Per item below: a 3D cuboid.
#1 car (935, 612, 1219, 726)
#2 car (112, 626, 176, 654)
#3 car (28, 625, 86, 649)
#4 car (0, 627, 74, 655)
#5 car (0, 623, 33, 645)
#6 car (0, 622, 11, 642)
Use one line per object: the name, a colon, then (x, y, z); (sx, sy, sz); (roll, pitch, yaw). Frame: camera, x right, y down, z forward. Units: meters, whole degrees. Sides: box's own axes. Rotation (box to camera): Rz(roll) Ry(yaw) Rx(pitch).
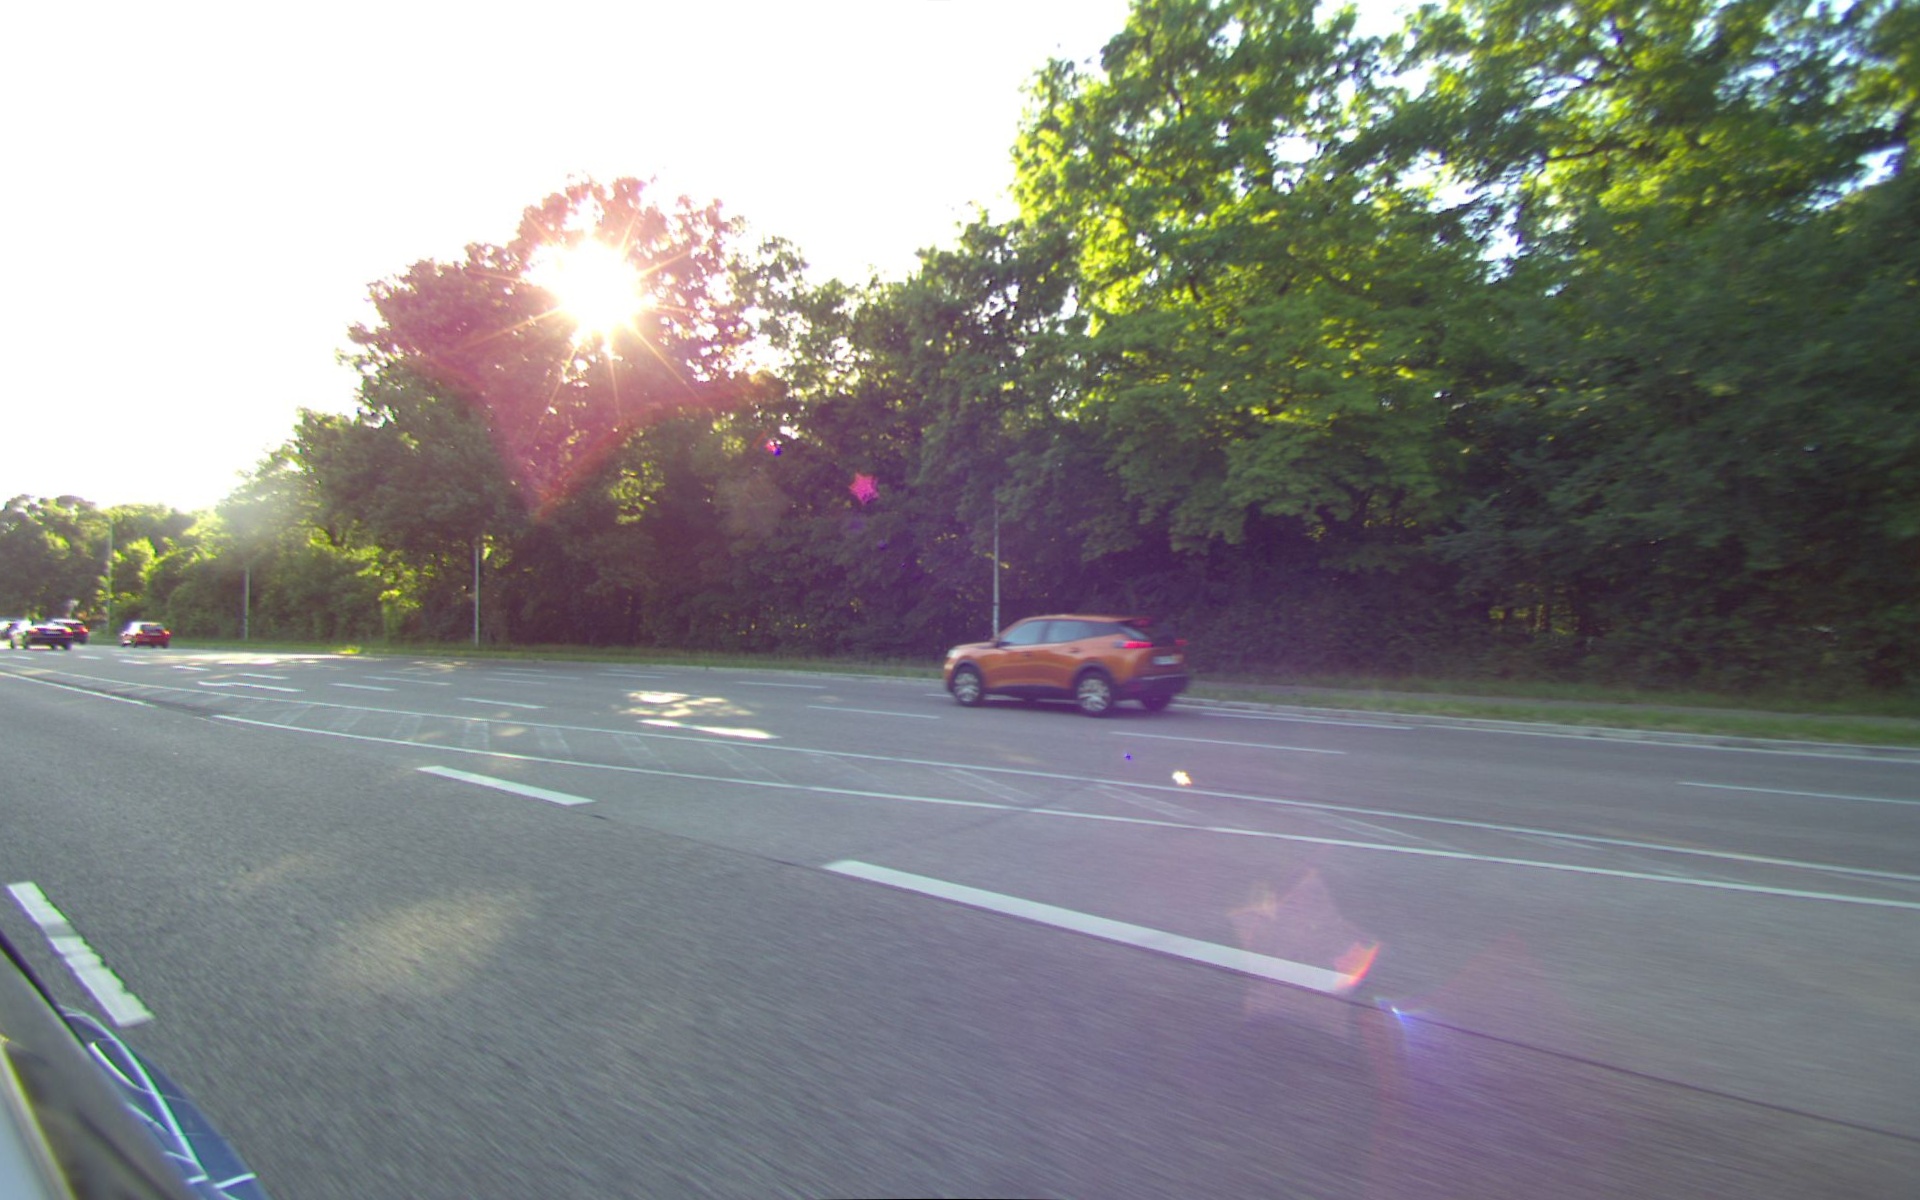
car: (1.721, 0.993, 15.967); (4.258, 1.556, 1.804); (-1, -2, 45)
car: (-47.867, 2.327, 59.336); (4.331, 1.576, 1.975); (-1, -3, 38)
car: (-62.863, 2.552, 70.406); (4.833, 1.649, 1.976); (-1, -3, 36)
car: (-42.993, 1.881, 47.117); (4.666, 1.244, 1.727); (-1, -3, 38)
car: (-73.136, 2.571, 77.665); (4.638, 1.576, 1.976); (-1, -5, 36)
car: (-79.296, 2.545, 82.313); (4.635, 1.576, 1.977); (-1, -5, 34)
